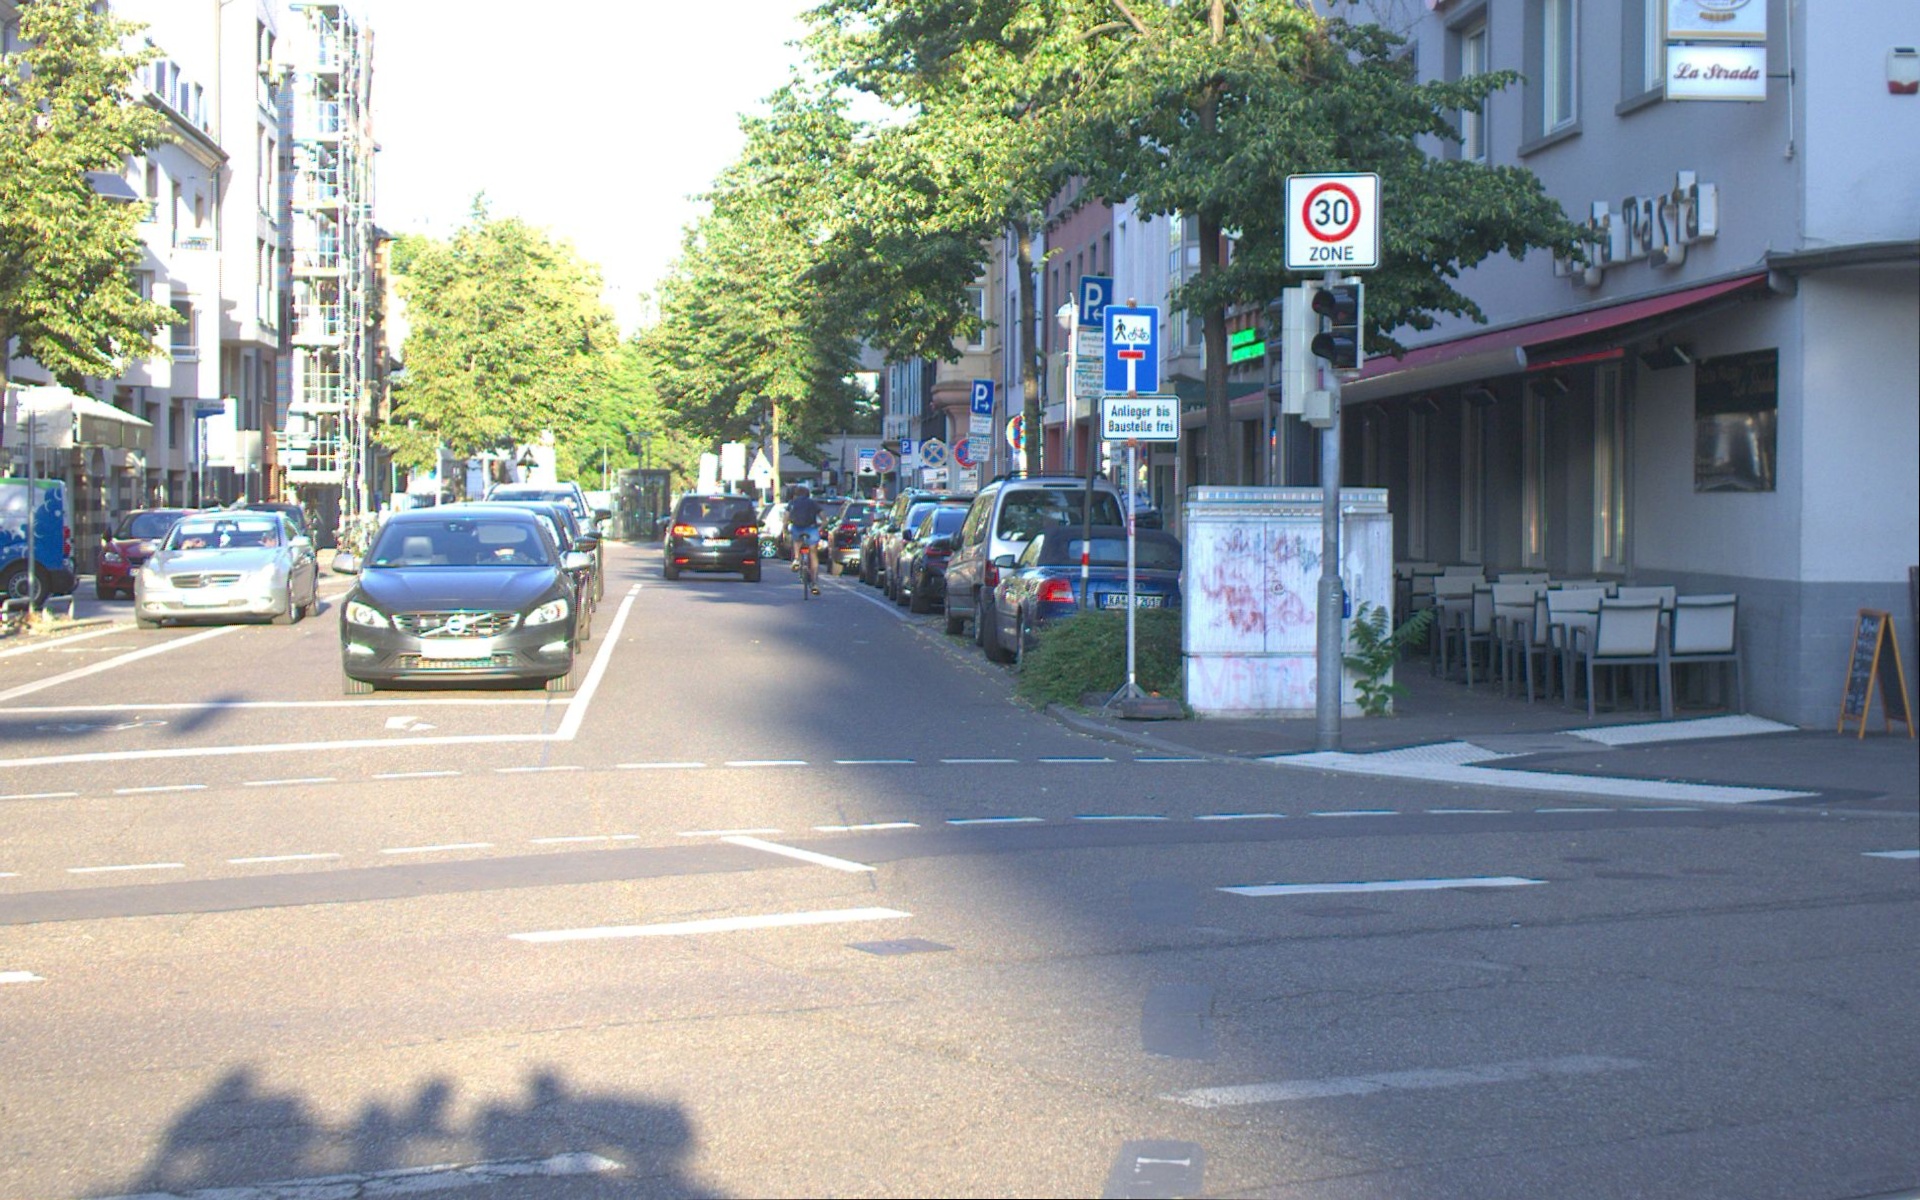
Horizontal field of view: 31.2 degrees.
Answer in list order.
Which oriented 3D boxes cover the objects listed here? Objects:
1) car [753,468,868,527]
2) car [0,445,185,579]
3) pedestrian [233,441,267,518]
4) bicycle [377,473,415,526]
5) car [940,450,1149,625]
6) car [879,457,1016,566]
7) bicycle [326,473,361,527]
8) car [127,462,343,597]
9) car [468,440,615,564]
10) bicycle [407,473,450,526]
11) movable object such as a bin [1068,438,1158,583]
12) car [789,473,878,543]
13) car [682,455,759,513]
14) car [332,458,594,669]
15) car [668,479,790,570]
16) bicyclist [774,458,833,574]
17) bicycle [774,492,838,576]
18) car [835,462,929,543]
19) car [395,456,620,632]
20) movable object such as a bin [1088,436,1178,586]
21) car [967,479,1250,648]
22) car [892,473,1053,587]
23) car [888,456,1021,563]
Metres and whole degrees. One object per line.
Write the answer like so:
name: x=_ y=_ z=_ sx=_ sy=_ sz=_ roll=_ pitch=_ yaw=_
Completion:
car: x=-4.080 y=-2.792 z=93.797 sx=2.968 sy=1.531 sz=1.434 roll=1 pitch=1 yaw=-8
car: x=-13.706 y=-1.286 z=48.948 sx=4.864 sy=1.821 sz=2.001 roll=1 pitch=1 yaw=-25
pedestrian: x=-16.521 y=-2.800 z=79.992 sx=0.716 sy=1.761 sz=0.694 roll=1 pitch=1 yaw=-12
bicycle: x=-15.024 y=-2.685 z=91.472 sx=0.780 sy=1.368 sz=3.143 roll=1 pitch=1 yaw=-13
car: x=0.870 y=-0.733 z=37.802 sx=1.654 sy=1.772 sz=4.013 roll=1 pitch=2 yaw=-7
car: x=-0.267 y=-1.532 z=59.414 sx=1.883 sy=1.748 sz=5.060 roll=1 pitch=1 yaw=-5
bicycle: x=-16.356 y=-2.657 z=91.153 sx=0.721 sy=1.391 sz=3.154 roll=1 pitch=1 yaw=-13
car: x=-8.964 y=-0.891 z=42.833 sx=1.993 sy=1.506 sz=4.510 roll=-2 pitch=2 yaw=-4
car: x=-5.848 y=-1.377 z=48.498 sx=1.940 sy=1.639 sz=4.740 roll=-1 pitch=1 yaw=-6
bicycle: x=-14.177 y=-2.682 z=91.673 sx=0.892 sy=1.391 sz=3.167 roll=0 pitch=2 yaw=-13
movable object such as a bin: x=1.908 y=-1.116 z=43.062 sx=0.834 sy=1.767 sz=1.354 roll=1 pitch=1 yaw=-8
car: x=-3.264 y=-2.337 z=87.727 sx=1.824 sy=1.689 sz=4.370 roll=1 pitch=1 yaw=-7
car: x=-8.436 y=-4.052 z=120.711 sx=2.264 sy=1.760 sz=4.511 roll=6 pitch=1 yaw=-8
car: x=-4.010 y=-0.370 z=28.244 sx=1.957 sy=1.542 sz=4.511 roll=0 pitch=3 yaw=-6
car: x=-4.295 y=-1.417 z=64.616 sx=1.993 sy=1.596 sz=4.510 roll=2 pitch=1 yaw=-1
bicyclist: x=-2.301 y=-1.234 z=50.437 sx=0.780 sy=1.690 sz=1.007 roll=-1 pitch=1 yaw=-7
bicycle: x=-2.270 y=-0.975 z=50.536 sx=0.780 sy=1.200 sz=2.021 roll=-1 pitch=2 yaw=-7
car: x=-1.715 y=-2.111 z=74.561 sx=1.811 sy=1.662 sz=4.206 roll=1 pitch=1 yaw=-4
car: x=-4.488 y=-0.587 z=34.675 sx=1.946 sy=1.639 sz=4.616 roll=-1 pitch=1 yaw=-4
movable object such as a bin: x=2.096 y=-1.080 z=41.774 sx=0.834 sy=1.767 sz=1.206 roll=1 pitch=1 yaw=-8
car: x=1.273 y=-0.383 z=31.291 sx=1.936 sy=1.371 sz=4.183 roll=2 pitch=2 yaw=-6
car: x=0.121 y=-0.998 z=47.259 sx=1.752 sy=1.415 sz=4.511 roll=1 pitch=2 yaw=-5
car: x=-0.134 y=-1.398 z=53.214 sx=1.811 sy=1.522 sz=4.994 roll=2 pitch=1 yaw=-3
